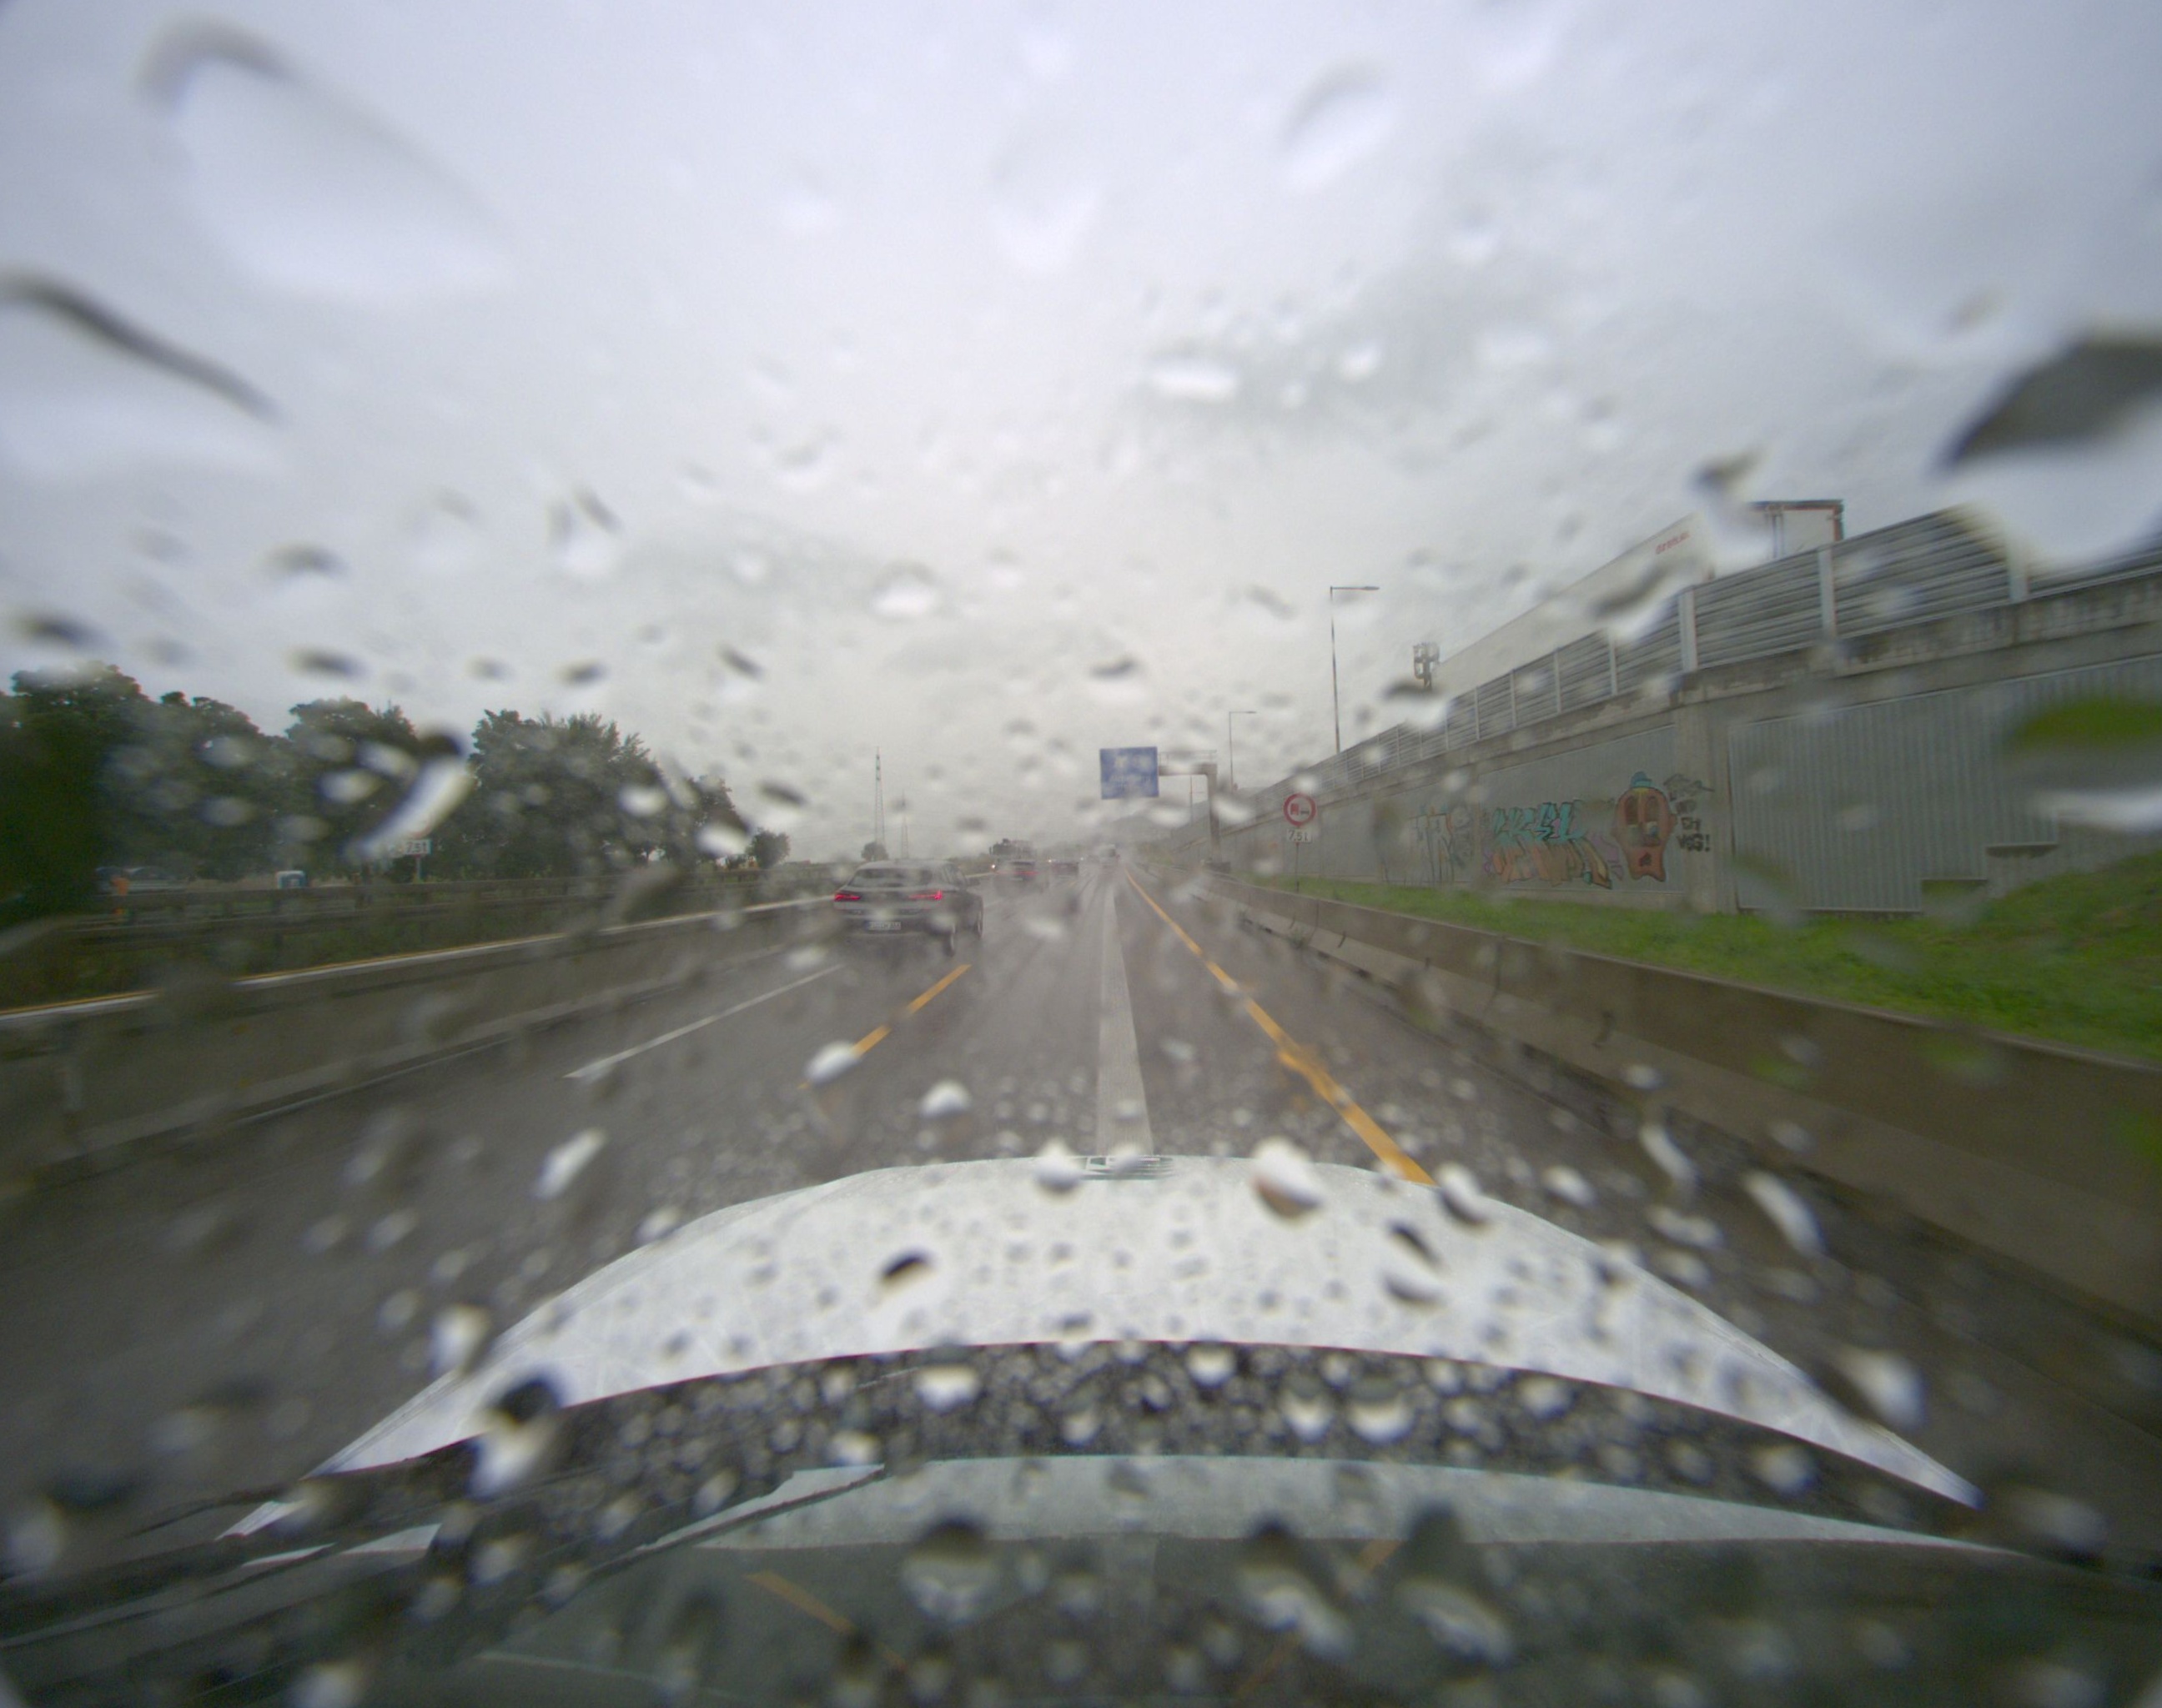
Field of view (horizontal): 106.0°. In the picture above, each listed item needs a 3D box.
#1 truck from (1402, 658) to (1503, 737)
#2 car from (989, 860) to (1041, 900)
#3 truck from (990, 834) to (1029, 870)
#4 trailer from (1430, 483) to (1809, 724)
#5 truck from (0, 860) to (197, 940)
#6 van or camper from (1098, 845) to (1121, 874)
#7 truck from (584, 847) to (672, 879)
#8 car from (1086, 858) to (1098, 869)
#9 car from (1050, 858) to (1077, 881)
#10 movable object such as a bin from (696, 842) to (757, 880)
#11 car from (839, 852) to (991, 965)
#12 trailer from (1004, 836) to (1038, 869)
[{"bbox_3d":[13.678,-5.723,30.273,1.986,2.014,4.060,-1,-2,2],"label":"truck"},{"bbox_3d":[-2.594,1.028,32.911,1.839,1.491,4.259,-1,-2,-1],"label":"car"},{"bbox_3d":[-6.983,-0.147,80.957,2.629,3.348,9.558,-1,0,2],"label":"truck"},{"bbox_3d":[13.386,-5.963,22.701,1.985,2.106,13.775,-1,-2,3],"label":"trailer"},{"bbox_3d":[-43.352,1.930,35.639,2.601,3.213,5.875,-1,-2,5],"label":"truck"},{"bbox_3d":[2.820,0.599,81.285,1.990,2.778,4.047,-1,-2,-1],"label":"van or camper"},{"bbox_3d":[-41.170,0.786,74.430,2.504,2.704,8.910,-1,0,4],"label":"truck"},{"bbox_3d":[1.636,1.370,119.905,1.563,1.480,2.818,-3,-2,-4],"label":"car"},{"bbox_3d":[-1.254,1.080,58.596,1.839,1.491,4.259,-4,0,-1],"label":"car"},{"bbox_3d":[-38.794,0.803,89.566,2.718,3.920,8.467,-1,-2,2],"label":"movable object such as a bin"},{"bbox_3d":[-2.647,0.843,14.077,1.696,1.598,4.842,-1,-2,-1],"label":"car"},{"bbox_3d":[-6.575,-0.162,90.556,2.651,3.362,9.720,-1,0,2],"label":"trailer"}]
